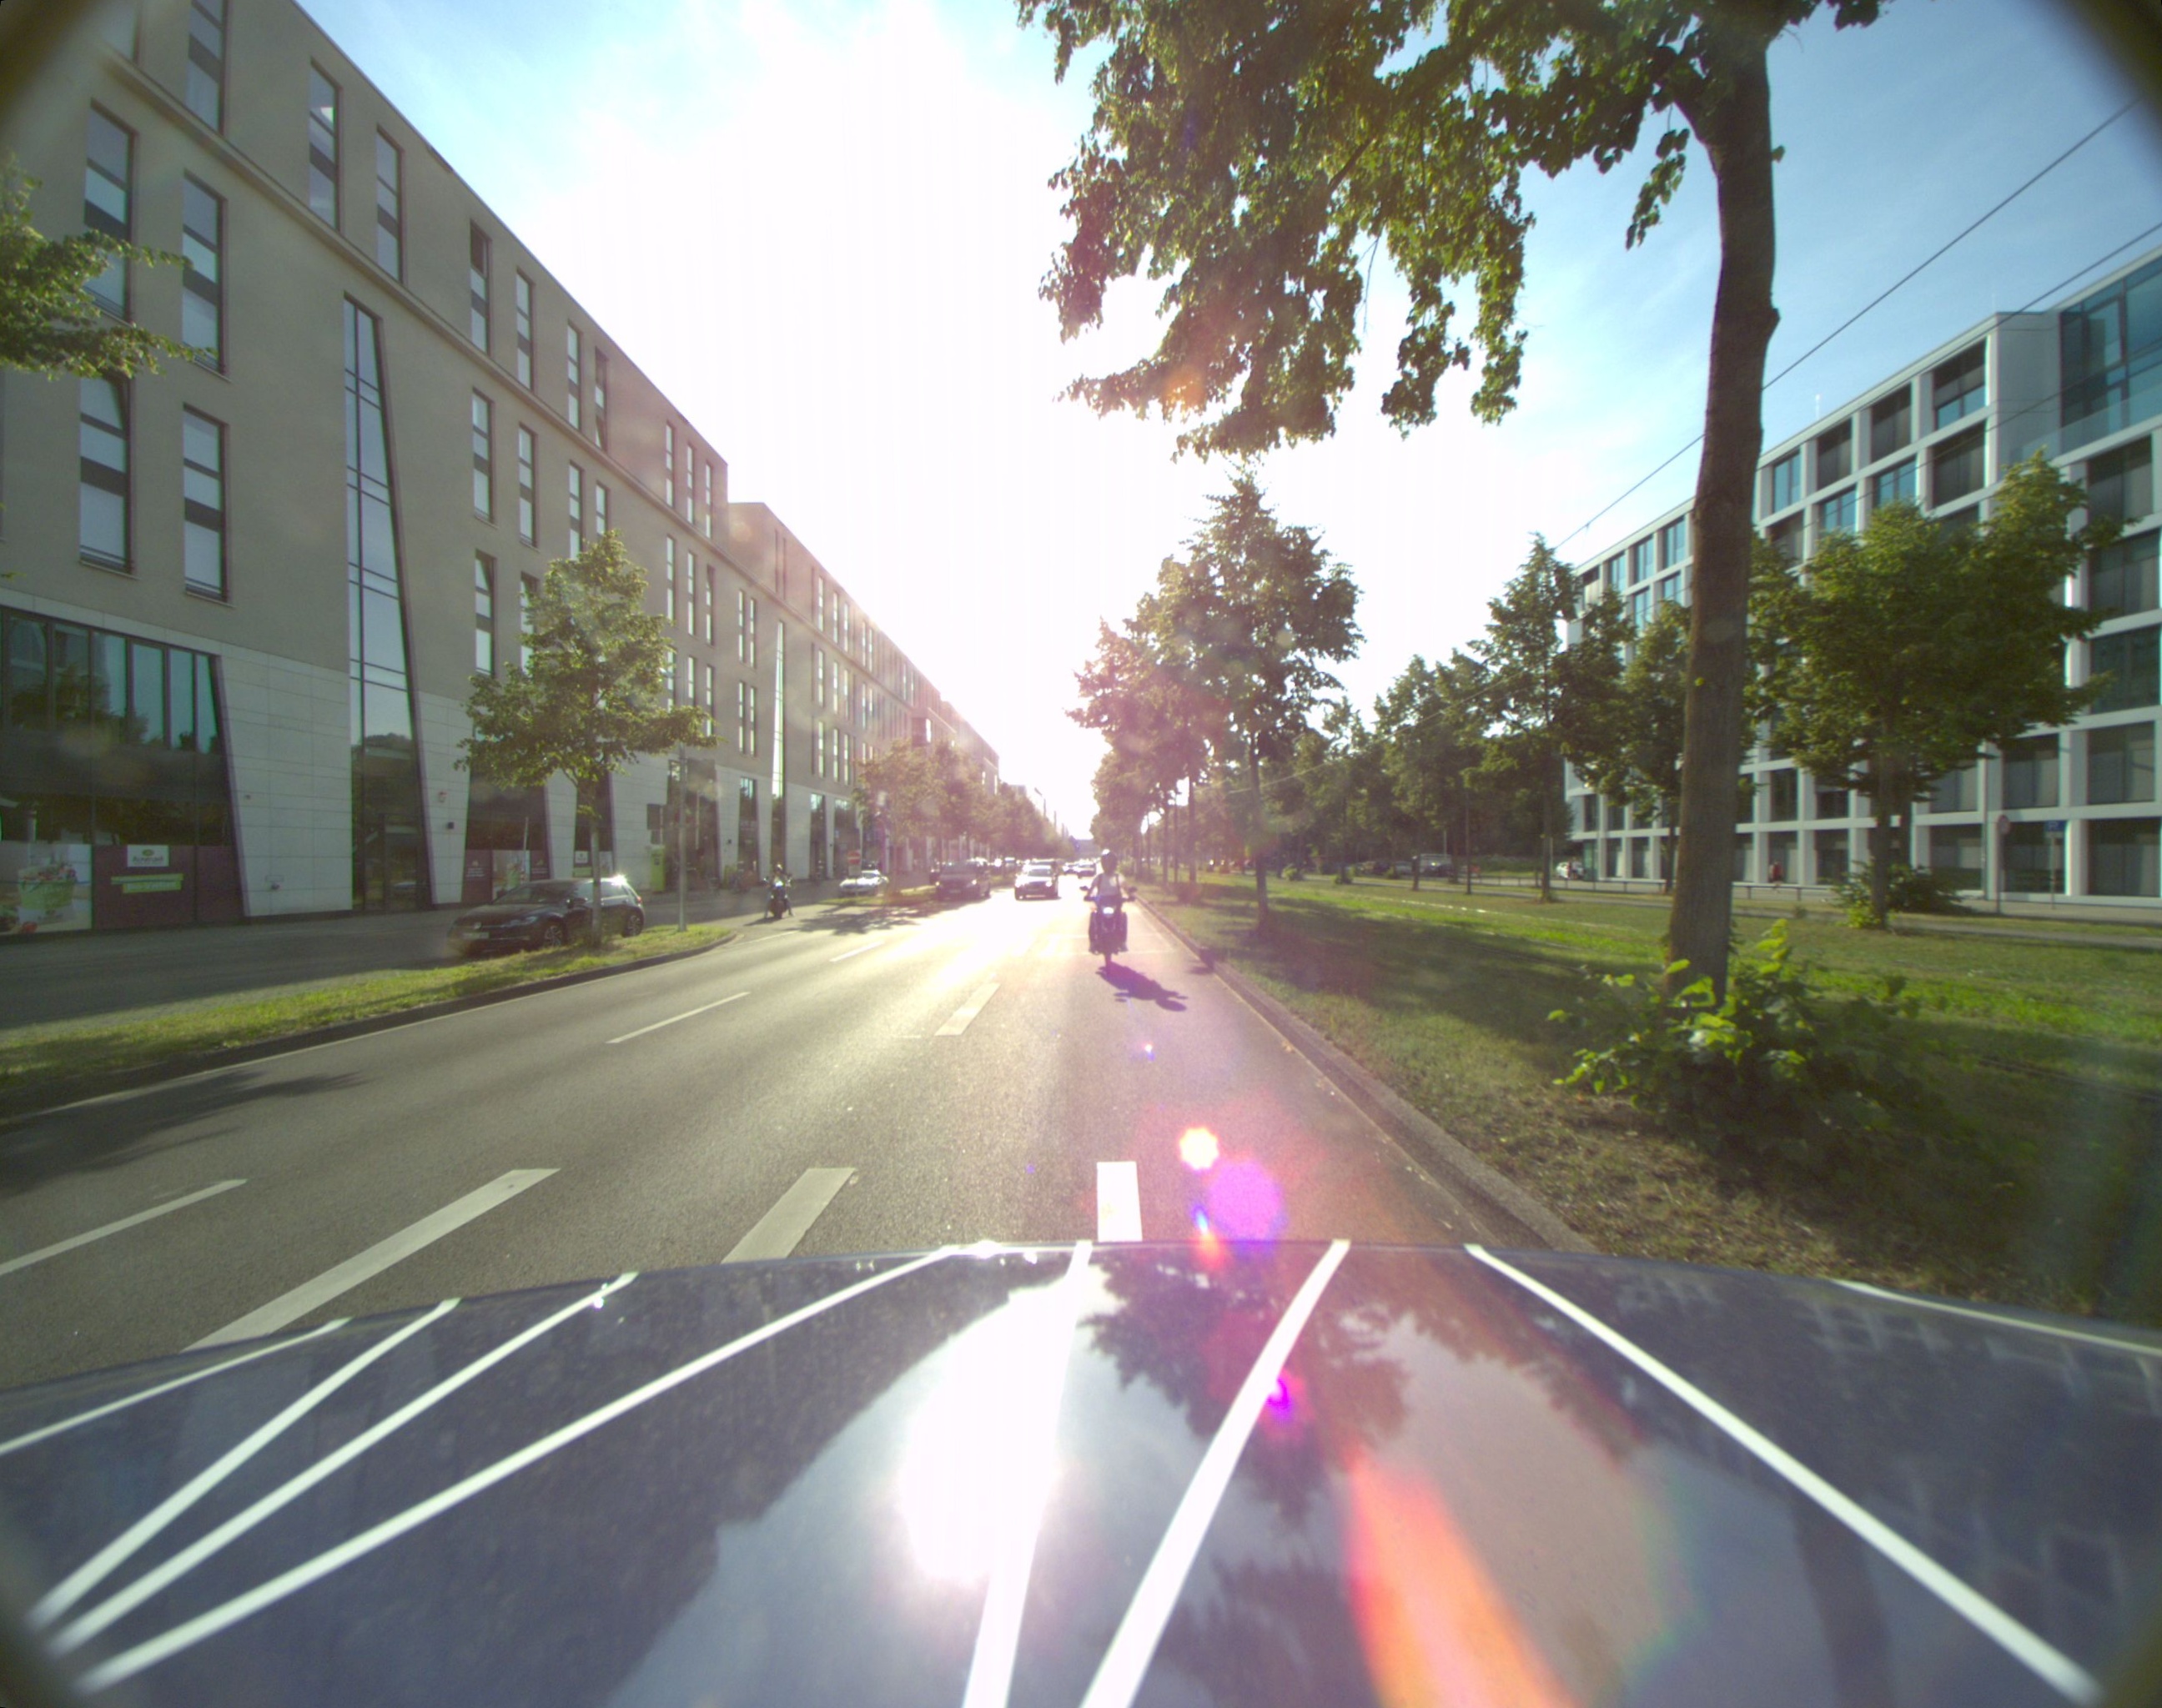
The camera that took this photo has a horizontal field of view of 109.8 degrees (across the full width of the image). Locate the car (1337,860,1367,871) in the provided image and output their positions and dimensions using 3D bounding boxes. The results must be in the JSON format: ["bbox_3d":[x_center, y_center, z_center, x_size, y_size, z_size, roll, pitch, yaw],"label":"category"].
[{"bbox_3d":[39.652,1.651,111.318,3.865,1.477,1.745,-2,1,9],"label":"car"}]

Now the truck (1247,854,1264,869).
[{"bbox_3d":[42.019,1.804,182.752,2.894,3.495,7.947,-2,0,6],"label":"truck"}]

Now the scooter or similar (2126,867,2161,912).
[{"bbox_3d":[36.818,1.183,25.787,1.933,1.468,0.415,-2,1,5],"label":"scooter or similar"}]

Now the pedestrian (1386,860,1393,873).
[{"bbox_3d":[36.090,1.496,88.868,0.523,1.472,0.568,-2,1,1],"label":"pedestrian"}]

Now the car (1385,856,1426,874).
[{"bbox_3d":[37.799,1.238,88.493,4.002,1.936,1.758,-2,1,2],"label":"car"}]

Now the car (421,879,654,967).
[{"bbox_3d":[-11.033,1.327,15.861,1.610,1.362,4.158,-2,0,5],"label":"car"}]

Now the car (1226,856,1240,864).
[{"bbox_3d":[30.130,1.192,150.737,1.834,1.423,4.475,-2,0,2],"label":"car"}]

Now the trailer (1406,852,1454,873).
[{"bbox_3d":[37.984,0.904,82.803,4.373,2.042,1.758,-2,1,4],"label":"trailer"}]

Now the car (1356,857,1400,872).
[{"bbox_3d":[39.630,1.391,101.475,5.071,1.725,1.886,-2,1,4],"label":"car"}]

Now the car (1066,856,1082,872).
[{"bbox_3d":[-0.838,1.195,90.930,1.777,1.805,4.000,-2,0,0],"label":"car"}]

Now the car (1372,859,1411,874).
[{"bbox_3d":[37.375,1.516,91.538,4.002,1.633,1.758,-2,1,2],"label":"car"}]

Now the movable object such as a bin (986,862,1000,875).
[{"bbox_3d":[-9.113,1.488,78.787,1.280,1.284,1.178,-2,1,-2],"label":"movable object such as a bin"}]

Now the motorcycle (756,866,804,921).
[{"bbox_3d":[-9.636,1.232,24.375,0.703,1.608,2.011,-2,1,-1],"label":"motorcycle"}]

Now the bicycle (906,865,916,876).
[{"bbox_3d":[-16.786,1.616,75.131,0.493,1.109,1.945,0,1,1],"label":"bicycle"}]

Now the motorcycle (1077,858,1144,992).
[{"bbox_3d":[0.381,0.913,11.022,0.798,1.659,2.634,-2,1,0],"label":"motorcycle"}]

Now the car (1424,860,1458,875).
[{"bbox_3d":[37.256,1.408,78.741,1.683,1.385,3.761,-2,0,-2],"label":"car"}]

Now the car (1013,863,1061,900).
[{"bbox_3d":[-1.916,1.185,34.223,1.756,1.427,4.035,-2,0,2],"label":"car"}]

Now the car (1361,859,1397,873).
[{"bbox_3d":[38.817,1.563,98.961,3.996,1.551,1.856,-2,1,4],"label":"car"}]

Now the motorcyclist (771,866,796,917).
[{"bbox_3d":[-9.621,1.194,24.574,0.625,1.631,0.417,0,0,-2],"label":"motorcyclist"}]

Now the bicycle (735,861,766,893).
[{"bbox_3d":[-17.523,1.209,40.305,0.557,1.558,2.212,-2,1,2],"label":"bicycle"}]

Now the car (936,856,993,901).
[{"bbox_3d":[-5.382,1.096,35.755,1.803,1.880,4.821,-2,0,1],"label":"car"}]

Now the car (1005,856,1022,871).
[{"bbox_3d":[-8.960,1.213,101.597,1.842,1.865,5.030,-2,0,-1],"label":"car"}]

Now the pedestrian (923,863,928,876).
[{"bbox_3d":[-18.041,1.785,87.999,0.540,1.565,0.514,-2,1,-14],"label":"pedestrian"}]

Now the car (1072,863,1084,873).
[{"bbox_3d":[-0.419,2.234,121.215,1.840,1.521,4.328,-2,0,1],"label":"car"}]

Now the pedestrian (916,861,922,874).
[{"bbox_3d":[-18.669,1.540,87.736,0.515,1.513,0.597,-2,1,1],"label":"pedestrian"}]

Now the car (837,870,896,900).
[{"bbox_3d":[-10.431,1.477,37.263,1.712,1.235,3.905,-2,0,0],"label":"car"}]

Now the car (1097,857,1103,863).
[{"bbox_3d":[6.494,2.105,257.352,1.998,1.736,3.998,-2,2,0],"label":"car"}]

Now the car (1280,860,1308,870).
[{"bbox_3d":[32.500,1.705,116.154,1.690,1.427,4.026,-2,1,-30],"label":"car"}]

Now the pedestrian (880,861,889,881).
[{"bbox_3d":[-17.913,1.537,69.356,0.538,1.752,0.646,-2,1,1],"label":"pedestrian"}]

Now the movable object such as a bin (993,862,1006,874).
[{"bbox_3d":[-8.730,1.476,81.814,1.280,1.229,1.191,-2,1,-2],"label":"movable object such as a bin"}]

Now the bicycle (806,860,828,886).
[{"bbox_3d":[-17.567,1.233,50.609,0.557,1.609,2.212,-2,1,2],"label":"bicycle"}]

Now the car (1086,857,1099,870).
[{"bbox_3d":[1.444,1.185,97.871,1.644,1.553,3.734,-2,0,0],"label":"car"}]

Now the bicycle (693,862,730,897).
[{"bbox_3d":[-17.856,1.190,36.755,0.557,1.561,2.276,-2,1,2],"label":"bicycle"}]

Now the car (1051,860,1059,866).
[{"bbox_3d":[-7.123,2.463,209.938,1.840,1.521,4.328,-2,0,1],"label":"car"}]

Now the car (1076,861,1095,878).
[{"bbox_3d":[0.440,1.459,73.873,1.739,1.499,4.000,-2,0,1],"label":"car"}]

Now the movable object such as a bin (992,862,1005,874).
[{"bbox_3d":[-8.709,1.502,80.481,1.280,1.229,1.191,-2,1,-2],"label":"movable object such as a bin"}]

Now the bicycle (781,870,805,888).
[{"bbox_3d":[-17.399,1.500,45.950,0.635,1.077,1.905,0,0,2],"label":"bicycle"}]

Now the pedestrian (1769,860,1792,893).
[{"bbox_3d":[37.087,1.186,40.297,0.569,1.718,0.691,-2,1,1],"label":"pedestrian"}]

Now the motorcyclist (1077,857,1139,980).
[{"bbox_3d":[0.378,0.909,11.073,0.814,1.699,0.843,-2,1,0],"label":"motorcyclist"}]

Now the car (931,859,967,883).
[{"bbox_3d":[-9.960,1.266,57.810,1.902,1.698,4.678,-2,-1,0],"label":"car"}]

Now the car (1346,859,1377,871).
[{"bbox_3d":[38.409,1.533,104.077,3.655,1.420,1.810,-2,1,4],"label":"car"}]
